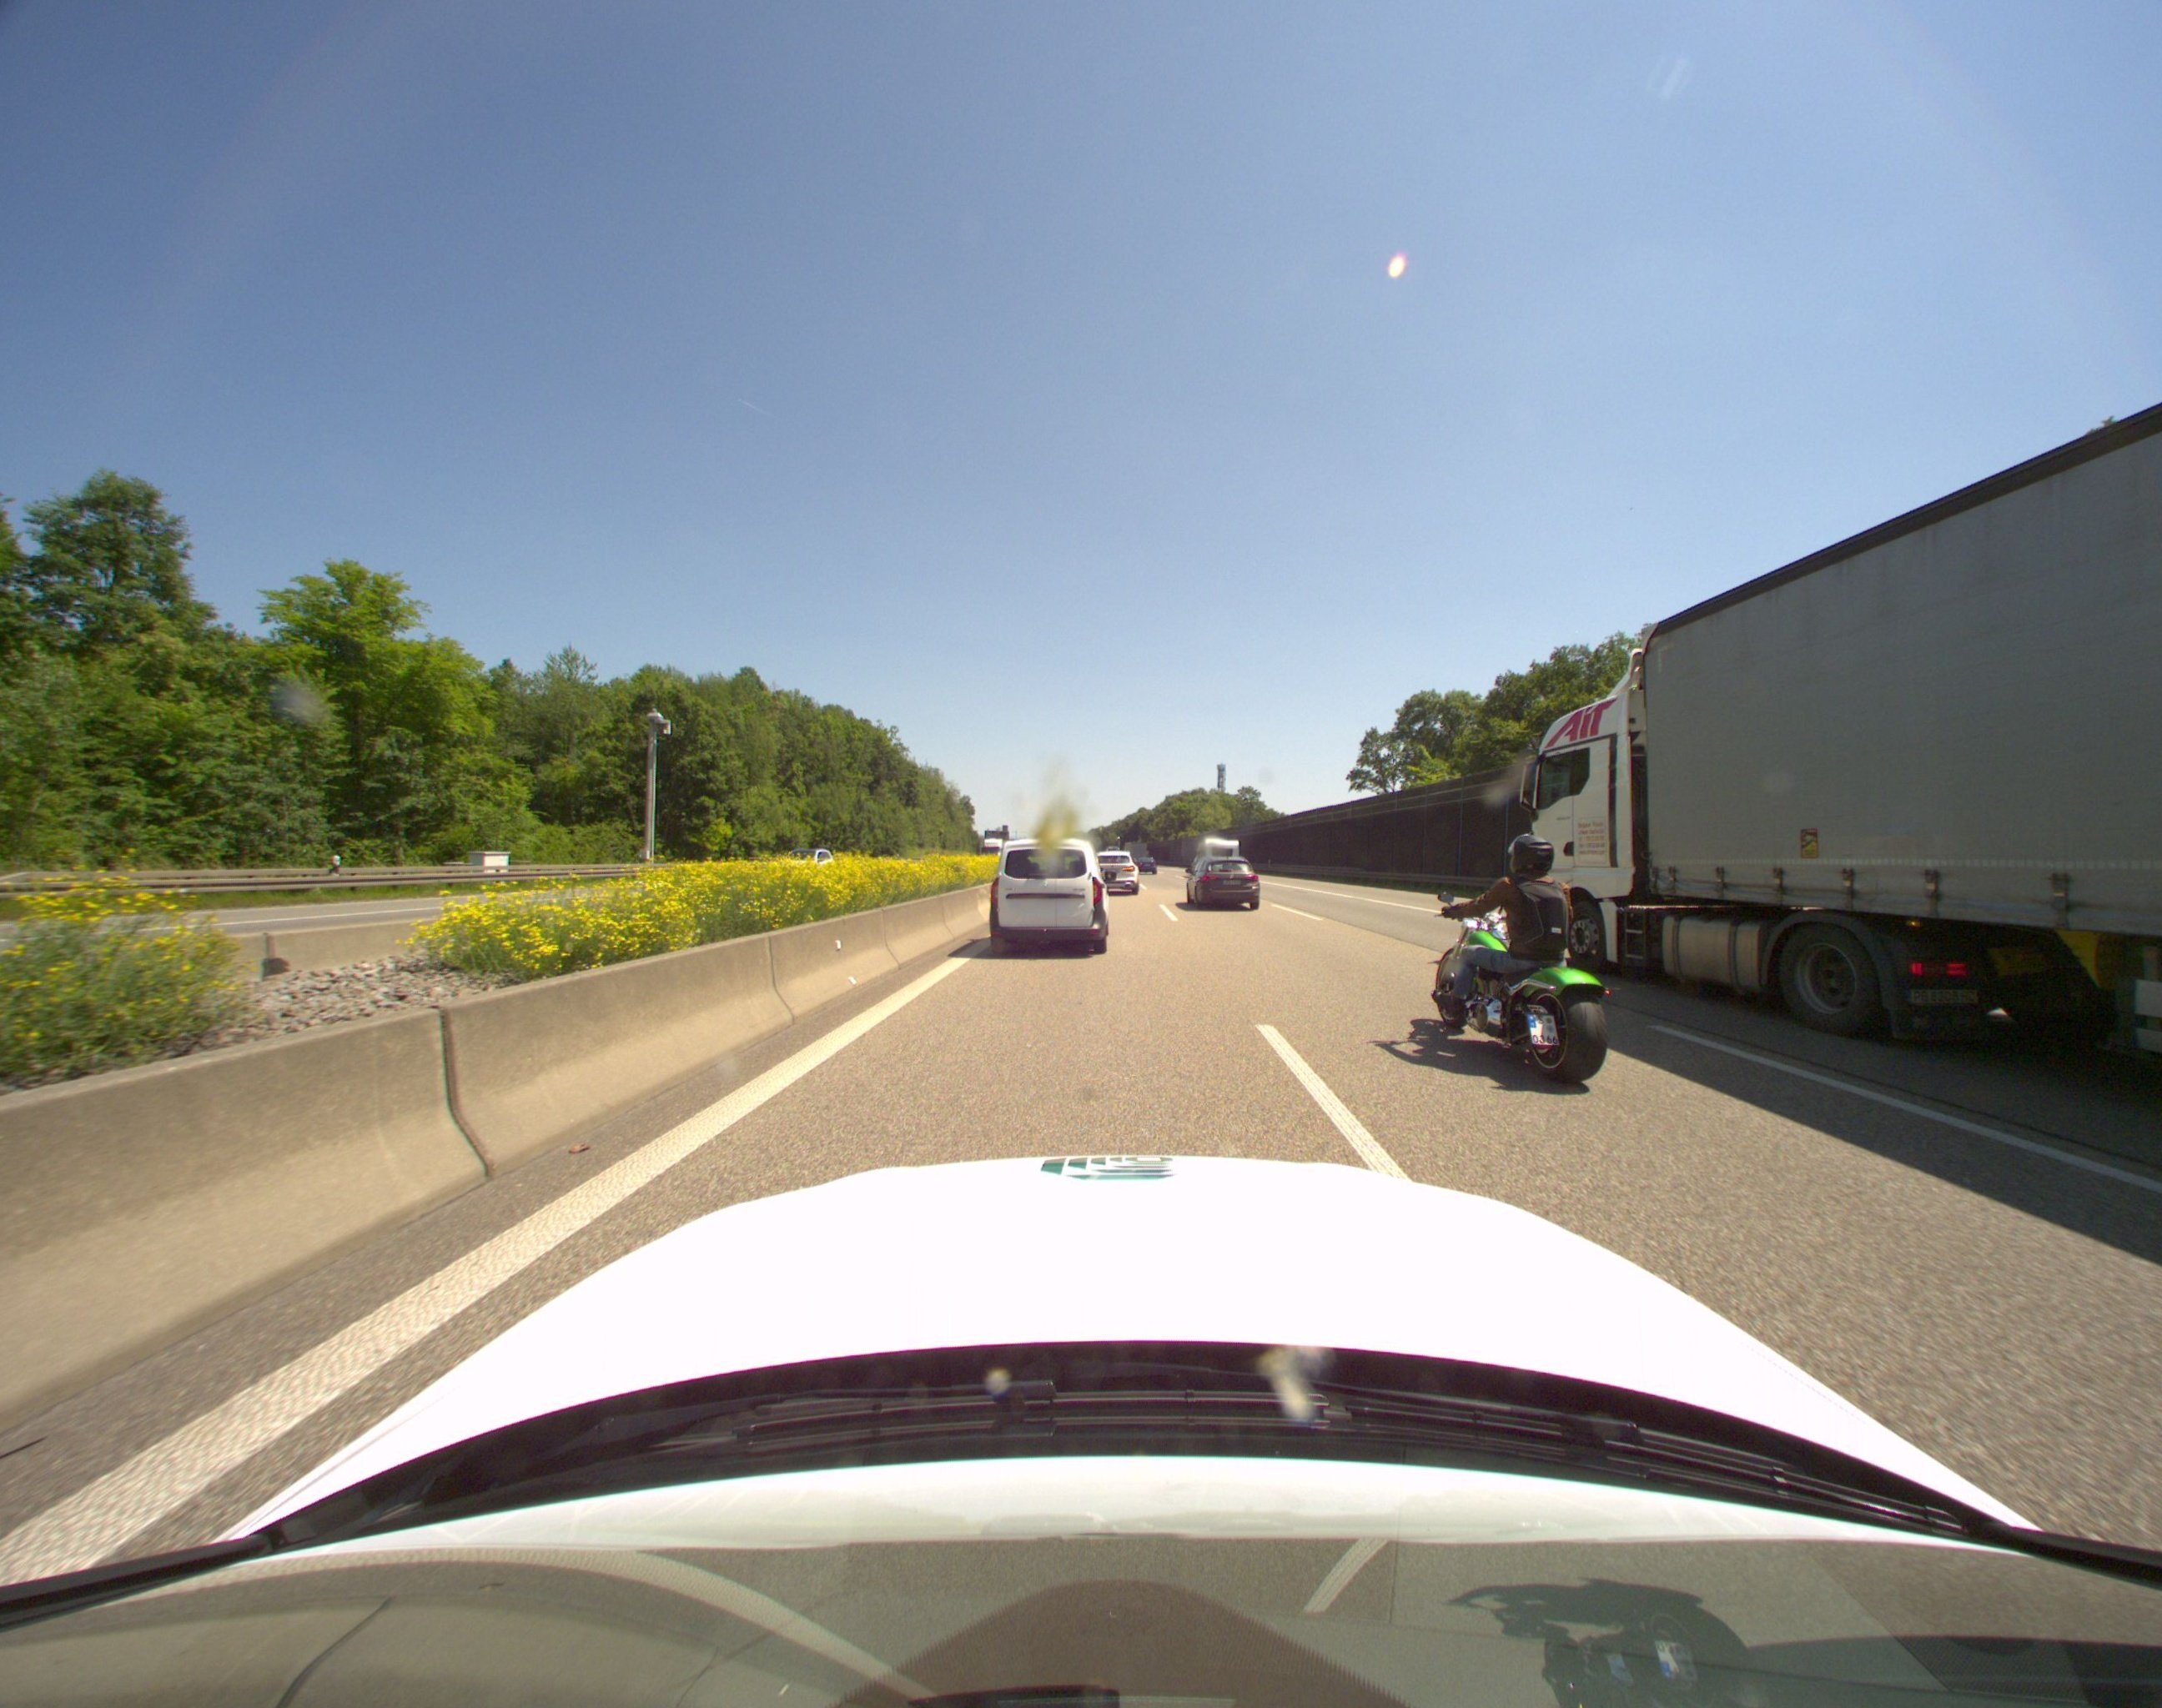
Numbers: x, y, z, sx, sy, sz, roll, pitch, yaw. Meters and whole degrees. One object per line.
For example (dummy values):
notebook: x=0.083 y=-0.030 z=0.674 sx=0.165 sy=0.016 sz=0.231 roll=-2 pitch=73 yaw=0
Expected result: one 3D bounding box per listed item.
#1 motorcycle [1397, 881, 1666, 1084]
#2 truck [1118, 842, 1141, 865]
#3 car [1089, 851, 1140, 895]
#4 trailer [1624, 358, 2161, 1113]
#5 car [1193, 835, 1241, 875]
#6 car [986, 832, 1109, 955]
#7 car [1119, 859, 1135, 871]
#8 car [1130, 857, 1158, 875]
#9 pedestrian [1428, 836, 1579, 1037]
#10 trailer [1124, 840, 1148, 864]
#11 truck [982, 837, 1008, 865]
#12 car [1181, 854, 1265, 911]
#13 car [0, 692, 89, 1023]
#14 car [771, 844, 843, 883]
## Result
motorcycle: x=3.253 y=0.840 z=6.222 sx=0.856 sy=1.182 sz=2.277 roll=0 pitch=0 yaw=2
truck: x=8.806 y=-0.028 z=148.568 sx=3.075 sy=3.986 sz=9.635 roll=0 pitch=-1 yaw=-3
car: x=1.308 y=0.714 z=32.282 sx=1.864 sy=1.608 sz=3.880 roll=0 pitch=0 yaw=1
trailer: x=7.028 y=-0.665 z=2.341 sx=2.587 sy=4.090 sz=13.603 roll=0 pitch=-1 yaw=3
car: x=9.685 y=0.108 z=58.407 sx=2.470 sy=2.766 sz=6.220 roll=0 pitch=-1 yaw=1
car: x=-0.440 y=0.593 z=13.961 sx=1.796 sy=1.808 sz=4.001 roll=0 pitch=0 yaw=1
car: x=5.628 y=1.288 z=99.600 sx=1.818 sy=1.424 sz=3.999 roll=0 pitch=-1 yaw=0
car: x=5.214 y=0.984 z=67.946 sx=1.820 sy=1.424 sz=3.995 roll=0 pitch=-1 yaw=-3
pedestrian: x=3.250 y=0.608 z=6.321 sx=0.848 sy=1.479 sz=0.638 roll=0 pitch=0 yaw=1
trailer: x=9.470 y=-0.258 z=141.039 sx=3.075 sy=3.986 sz=10.311 roll=0 pitch=-1 yaw=-3
truck: x=-12.333 y=-0.453 z=117.559 sx=2.738 sy=3.857 sz=8.415 roll=0 pitch=0 yaw=1
car: x=4.062 y=0.762 z=23.950 sx=1.831 sy=1.513 sz=4.403 roll=0 pitch=0 yaw=1
car: x=-7.961 y=0.005 z=2.352 sx=2.311 sy=2.014 sz=6.192 roll=0 pitch=0 yaw=5
car: x=-13.138 y=0.435 z=39.304 sx=1.875 sy=1.765 sz=4.323 roll=0 pitch=0 yaw=2
